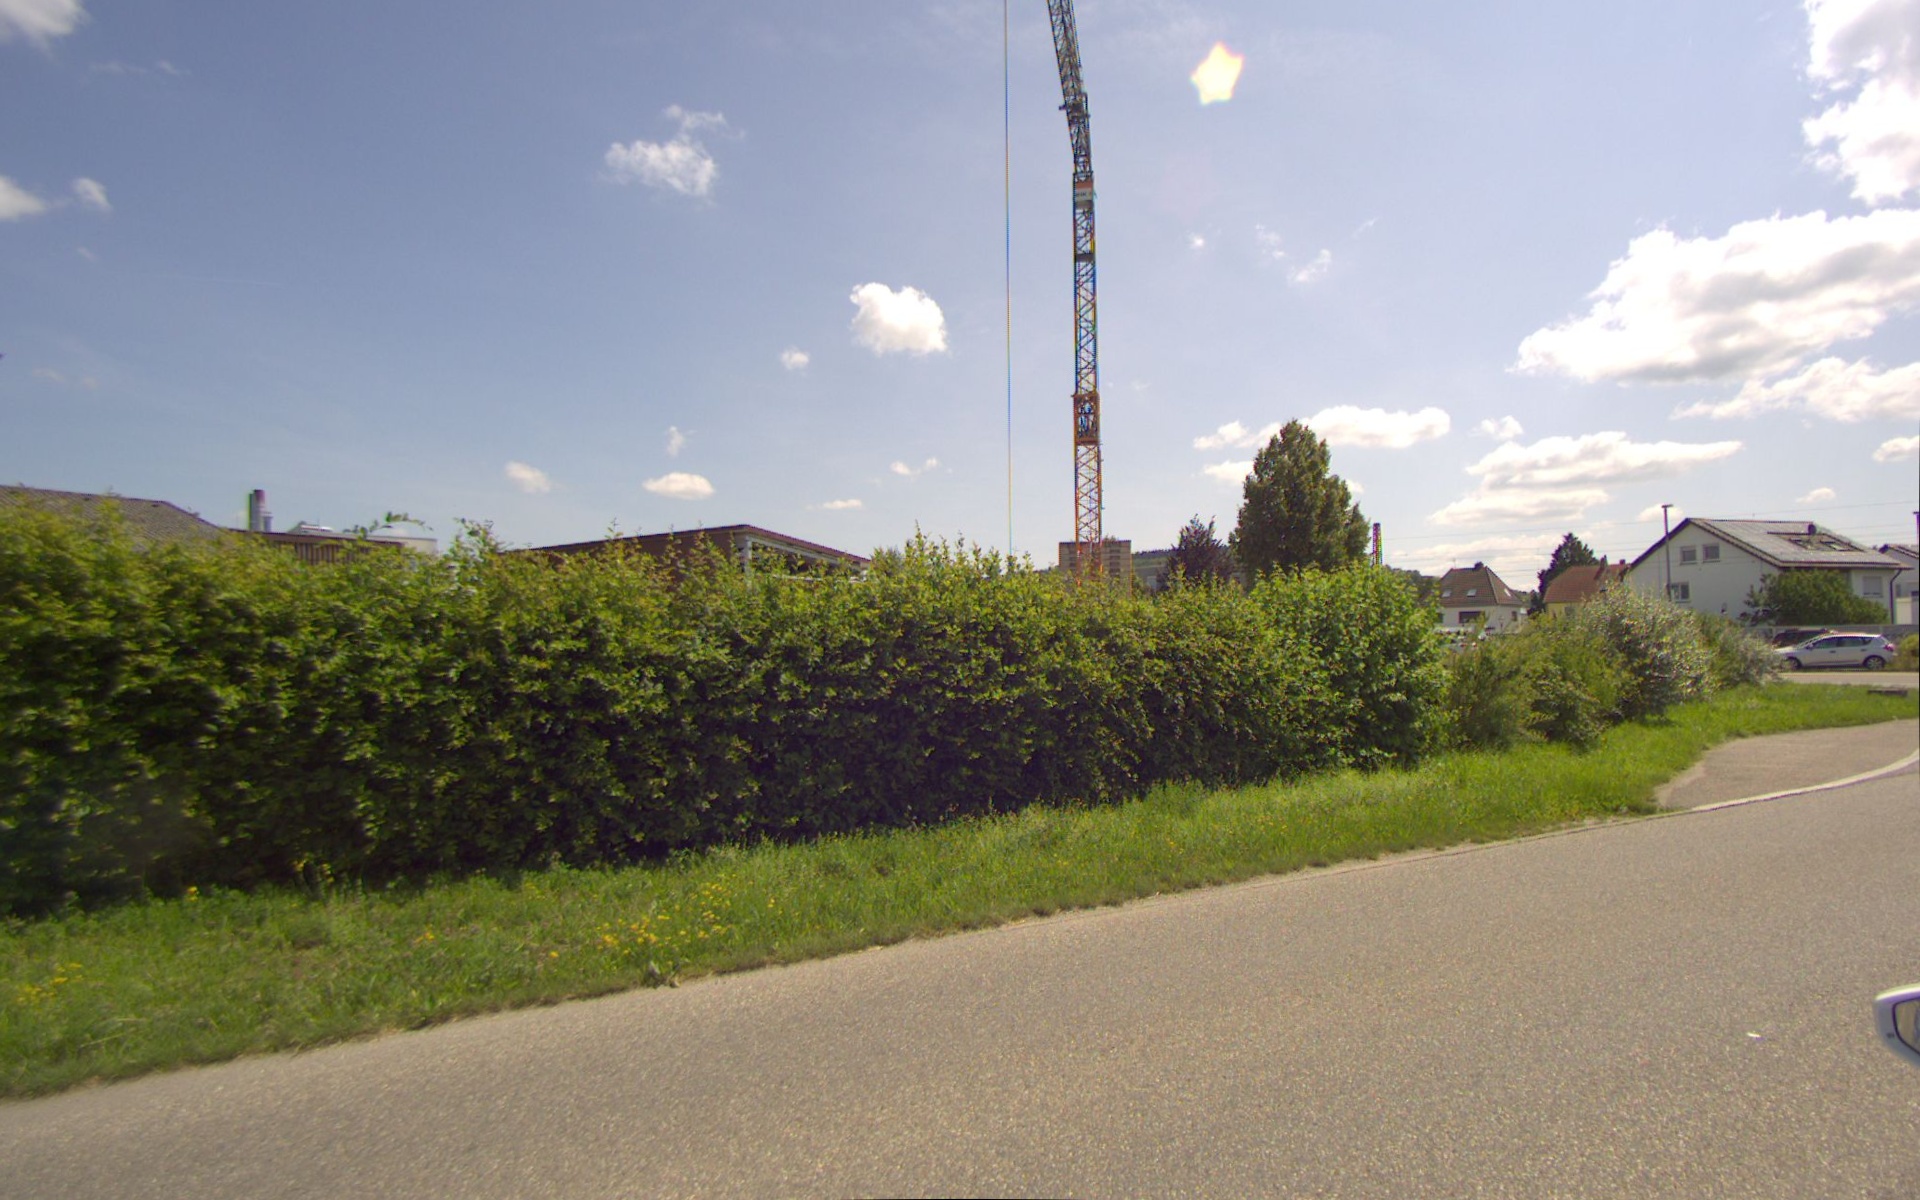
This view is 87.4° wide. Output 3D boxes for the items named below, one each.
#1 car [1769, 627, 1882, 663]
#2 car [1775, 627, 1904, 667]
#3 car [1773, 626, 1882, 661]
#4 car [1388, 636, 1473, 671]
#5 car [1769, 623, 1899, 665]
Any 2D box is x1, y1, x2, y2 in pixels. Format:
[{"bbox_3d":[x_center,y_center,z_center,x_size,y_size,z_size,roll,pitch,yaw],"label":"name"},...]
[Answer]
[{"bbox_3d":[39.642,2.064,46.068,1.682,1.579,3.748,1,-3,-43],"label":"car"},{"bbox_3d":[36.711,1.975,42.031,3.957,1.582,1.812,-3,-3,43],"label":"car"},{"bbox_3d":[41.167,2.090,47.715,1.488,1.610,3.793,2,-4,-45],"label":"car"},{"bbox_3d":[26.798,3.037,57.256,3.946,1.916,1.988,-3,-4,44],"label":"car"},{"bbox_3d":[38.112,1.940,43.872,4.118,1.659,1.944,-5,-5,44],"label":"car"}]
